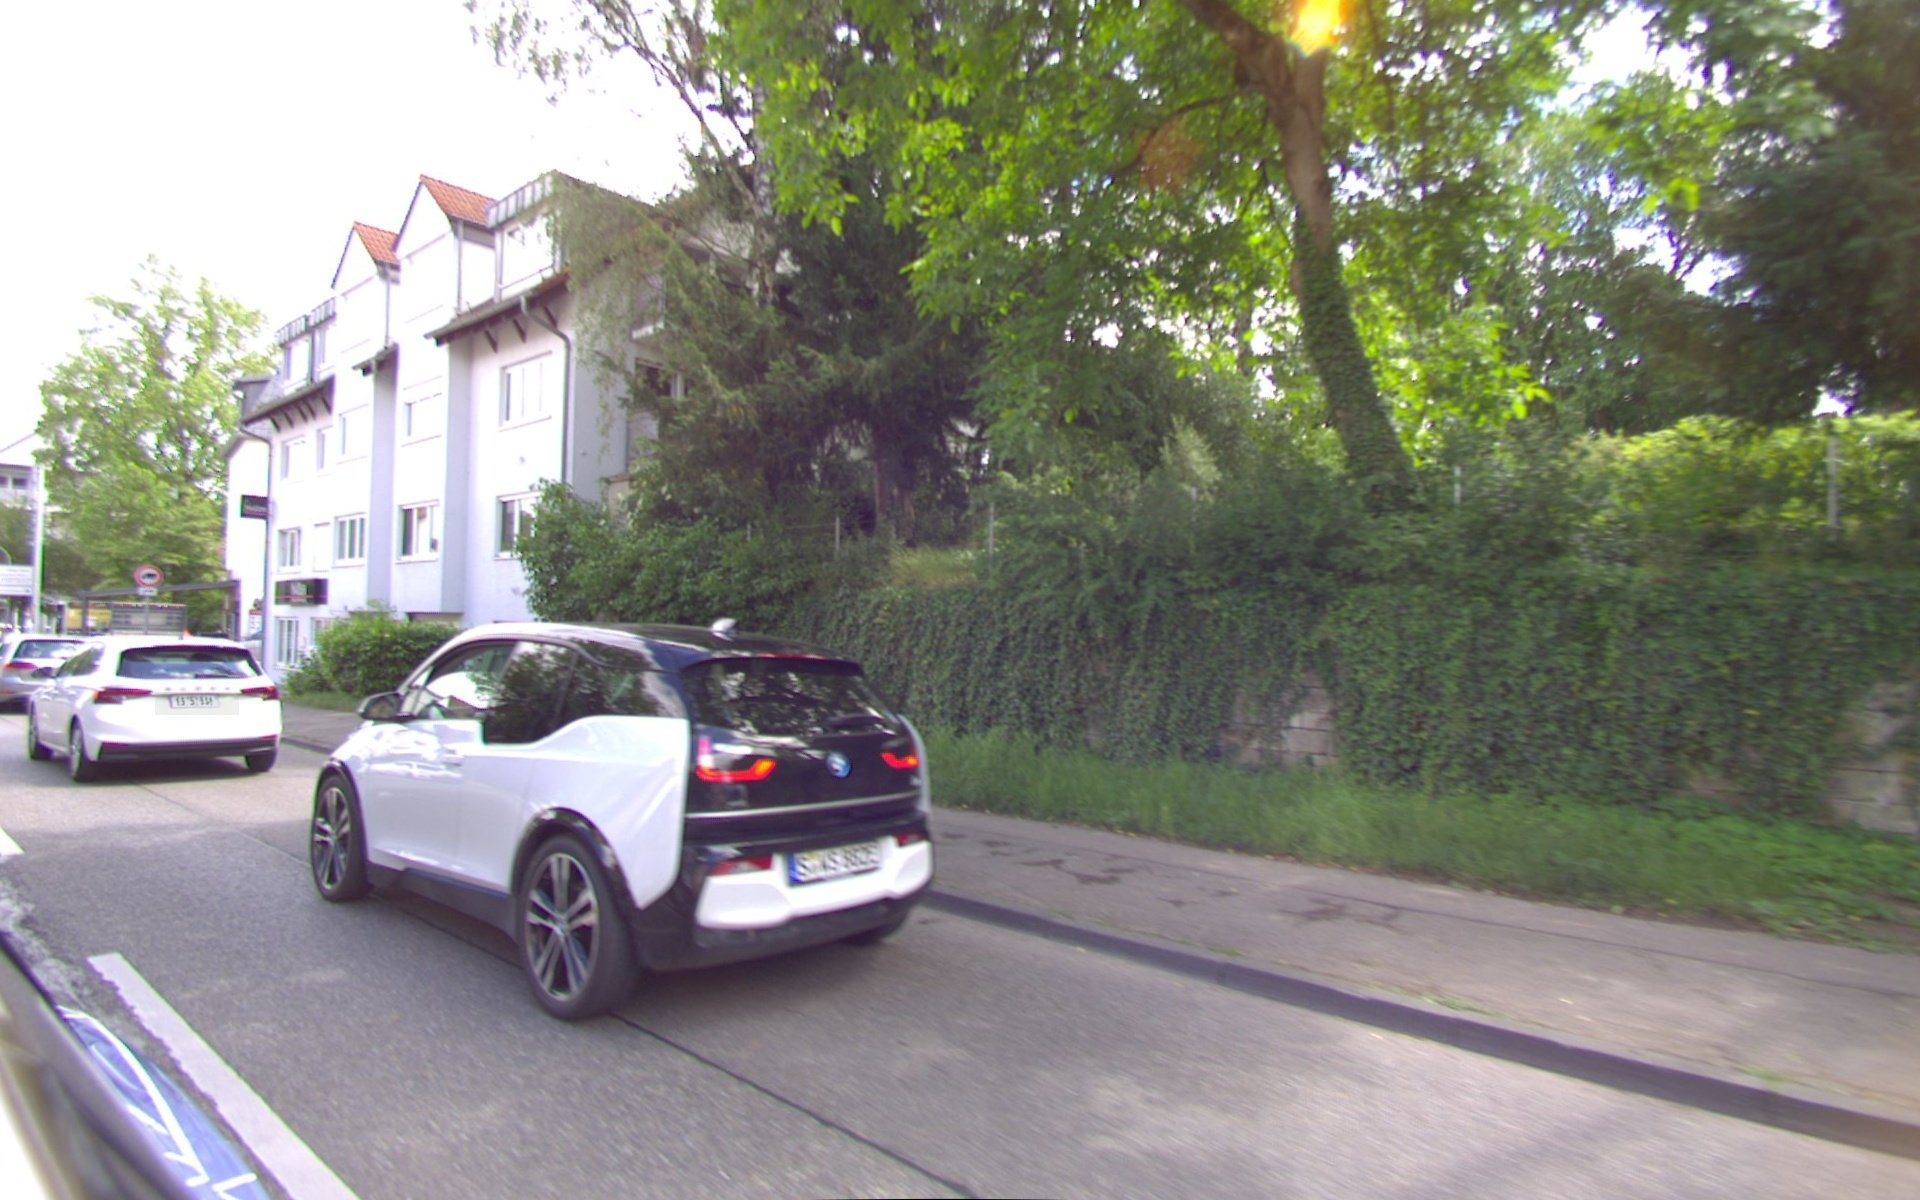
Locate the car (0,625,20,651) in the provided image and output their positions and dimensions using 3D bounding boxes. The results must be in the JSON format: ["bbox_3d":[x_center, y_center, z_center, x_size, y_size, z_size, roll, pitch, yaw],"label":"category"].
[{"bbox_3d":[-58.429,2.253,59.710,1.821,1.525,4.169,-3,-3,40],"label":"car"}]

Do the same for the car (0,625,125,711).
[{"bbox_3d":[-17.517,1.243,19.251,4.284,1.467,1.692,-1,-5,40],"label":"car"}]

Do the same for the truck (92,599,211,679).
[{"bbox_3d":[-26.758,1.212,33.414,6.327,2.398,2.200,-1,-2,44],"label":"truck"}]

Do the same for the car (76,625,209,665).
[{"bbox_3d":[-31.568,1.707,39.152,1.802,1.436,3.658,-1,-2,37],"label":"car"}]

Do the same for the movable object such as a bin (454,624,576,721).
[{"bbox_3d":[-7.041,1.108,16.042,1.211,1.438,1.319,0,-1,35],"label":"movable object such as a bin"}]

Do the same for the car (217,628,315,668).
[{"bbox_3d":[-27.687,1.914,40.467,2.801,1.481,1.570,1,-1,-11],"label":"car"}]

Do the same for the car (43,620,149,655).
[{"bbox_3d":[-52.572,2.227,61.638,2.092,2.024,4.577,-1,-2,37],"label":"car"}]

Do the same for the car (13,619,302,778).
[{"bbox_3d":[-8.997,1.002,11.244,3.967,1.450,1.741,-2,-5,41],"label":"car"}]
